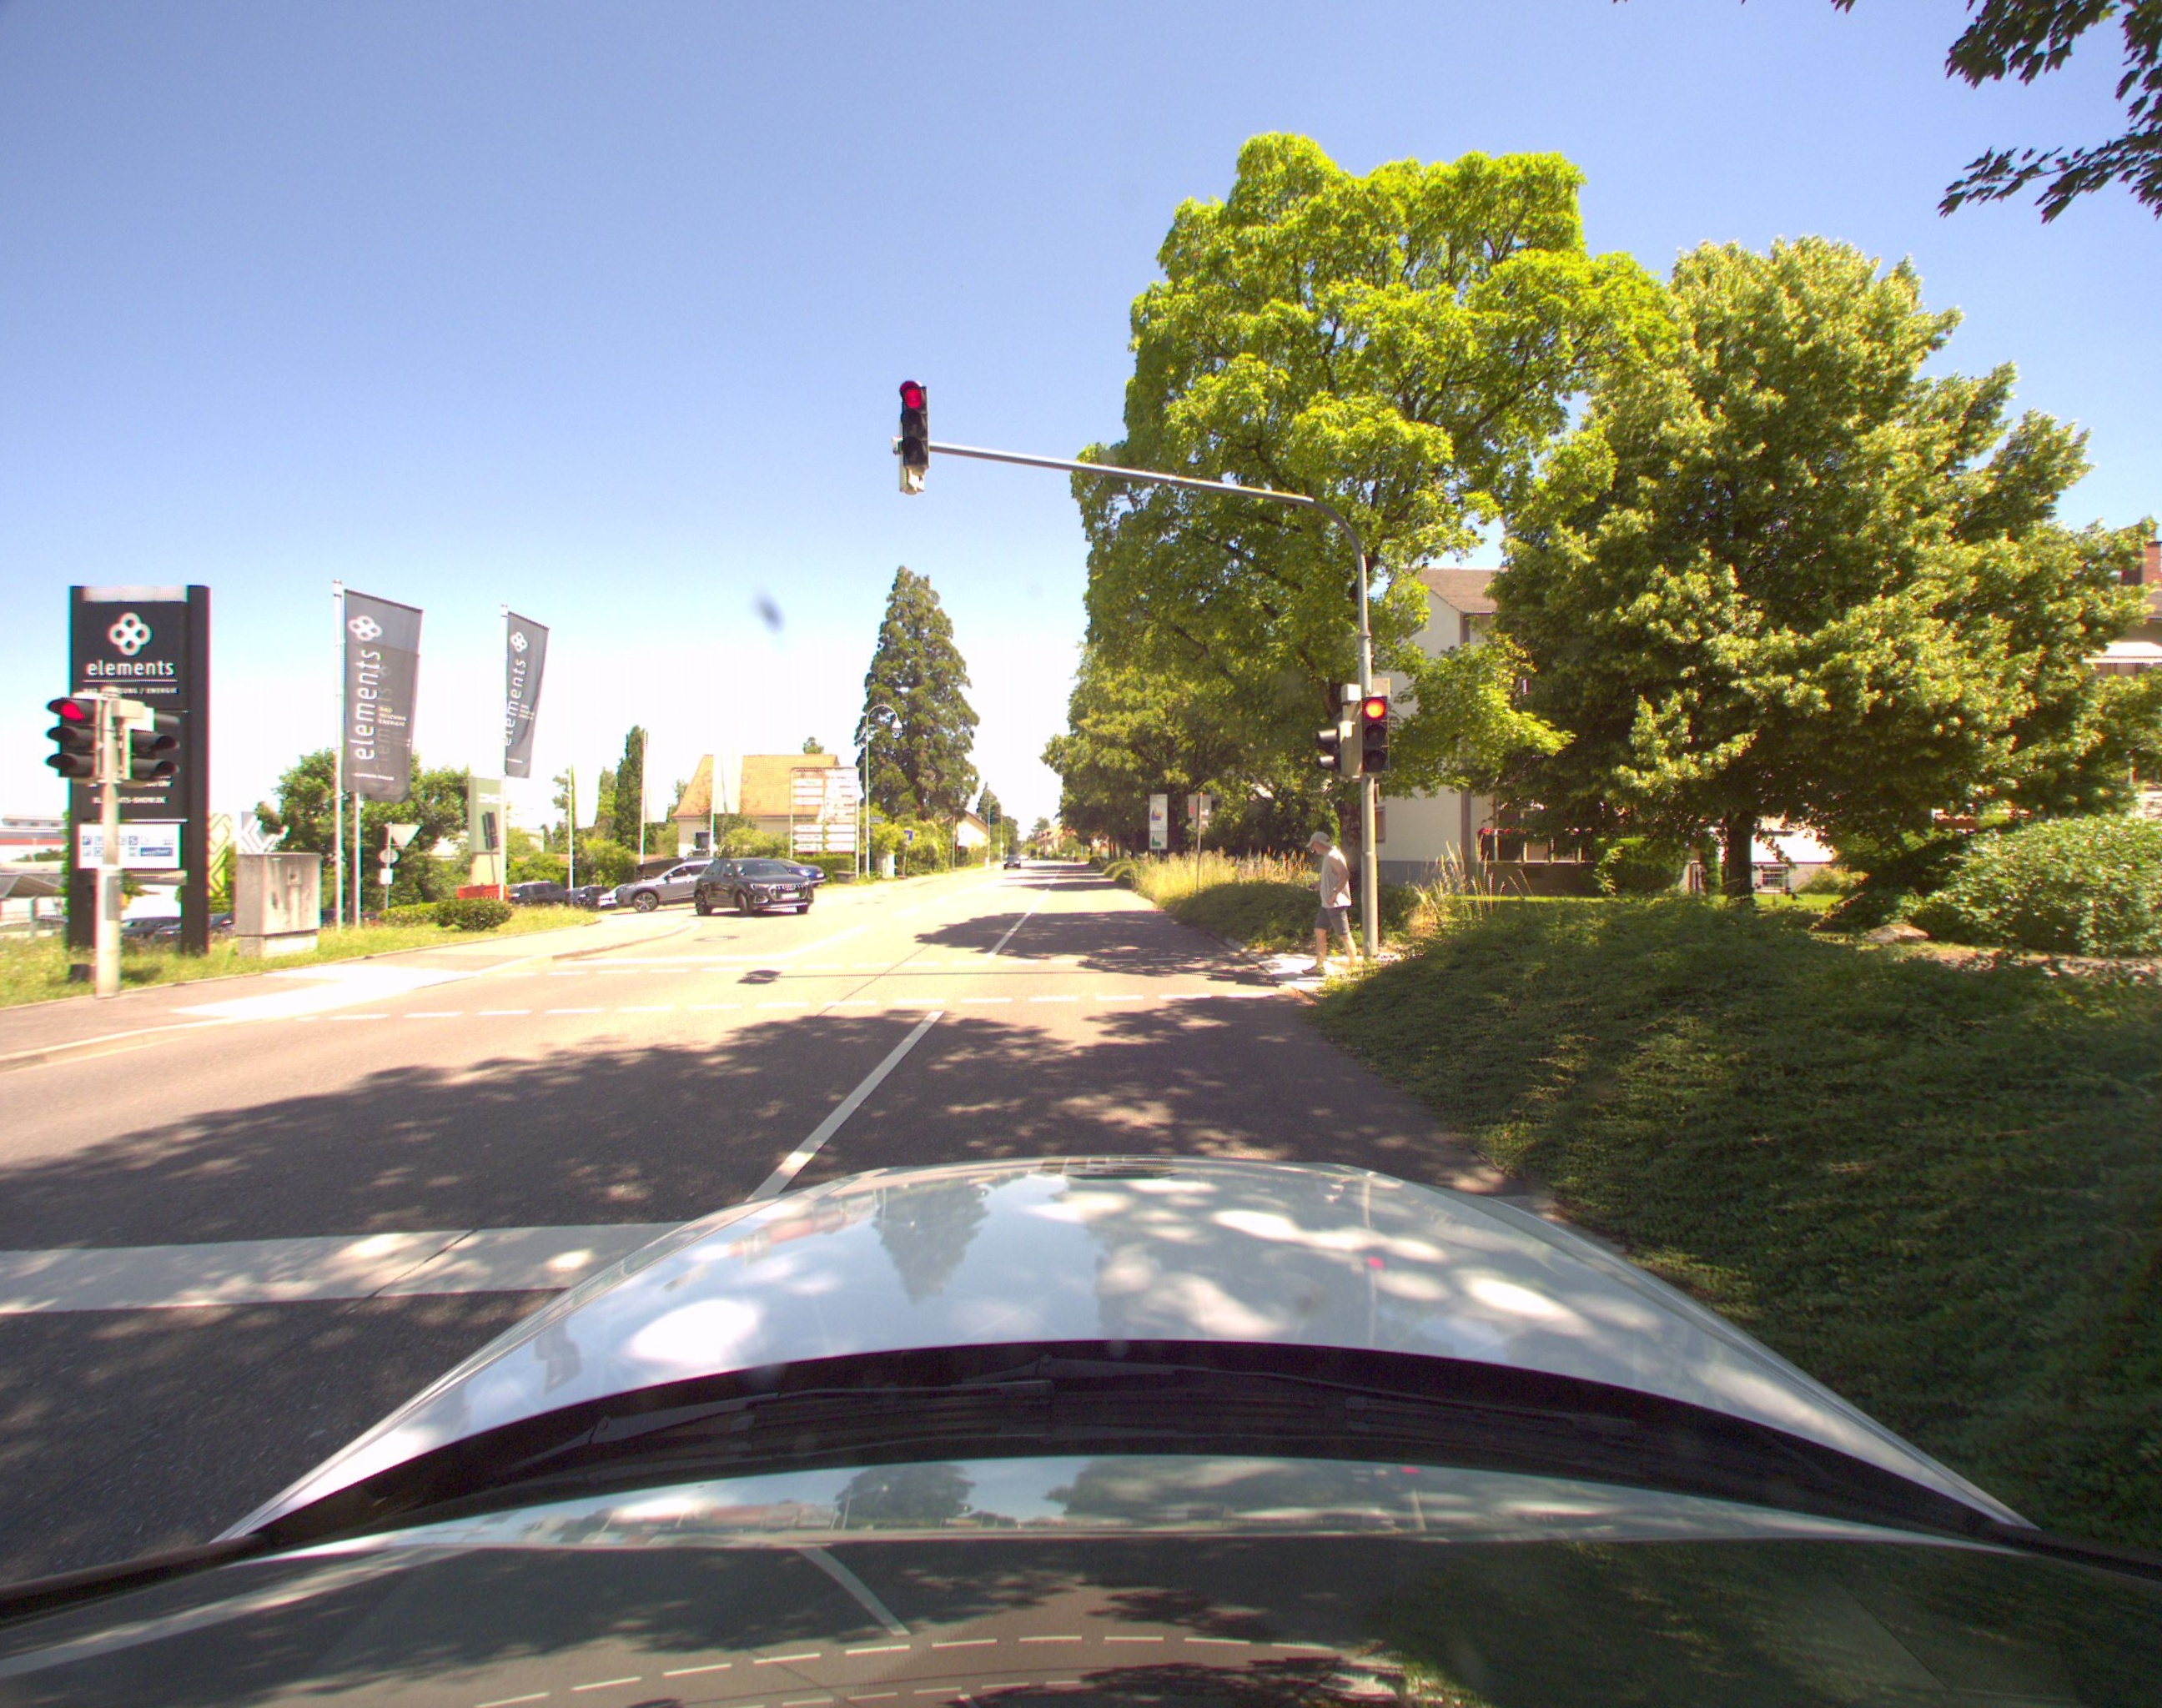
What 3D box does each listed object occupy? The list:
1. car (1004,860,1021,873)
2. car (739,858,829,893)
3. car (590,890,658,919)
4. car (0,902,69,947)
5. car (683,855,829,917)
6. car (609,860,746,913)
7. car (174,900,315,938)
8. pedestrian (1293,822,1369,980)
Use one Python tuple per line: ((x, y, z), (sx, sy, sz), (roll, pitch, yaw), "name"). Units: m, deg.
((-7.333, 1.364, 87.461), (1.426, 1.322, 3.356), (0, -1, 2), "car")
((-13.460, 0.948, 37.084), (3.486, 1.427, 1.598), (-2, 0, -6), "car")
((-23.245, 2.543, 41.553), (1.743, 1.226, 3.240), (0, 0, -3), "car")
((-40.734, 2.604, 30.173), (4.274, 1.487, 2.003), (-1, 0, 5), "car")
((-9.078, 0.896, 22.608), (4.251, 1.526, 1.941), (-3, -1, 40), "car")
((-14.484, 1.109, 29.404), (4.319, 1.717, 1.869), (-1, 0, -27), "car")
((-34.409, 2.665, 33.579), (3.973, 1.413, 1.756), (0, -1, 0), "car")
((2.893, 0.527, 9.438), (0.564, 1.751, 0.609), (0, -1, -30), "pedestrian")
